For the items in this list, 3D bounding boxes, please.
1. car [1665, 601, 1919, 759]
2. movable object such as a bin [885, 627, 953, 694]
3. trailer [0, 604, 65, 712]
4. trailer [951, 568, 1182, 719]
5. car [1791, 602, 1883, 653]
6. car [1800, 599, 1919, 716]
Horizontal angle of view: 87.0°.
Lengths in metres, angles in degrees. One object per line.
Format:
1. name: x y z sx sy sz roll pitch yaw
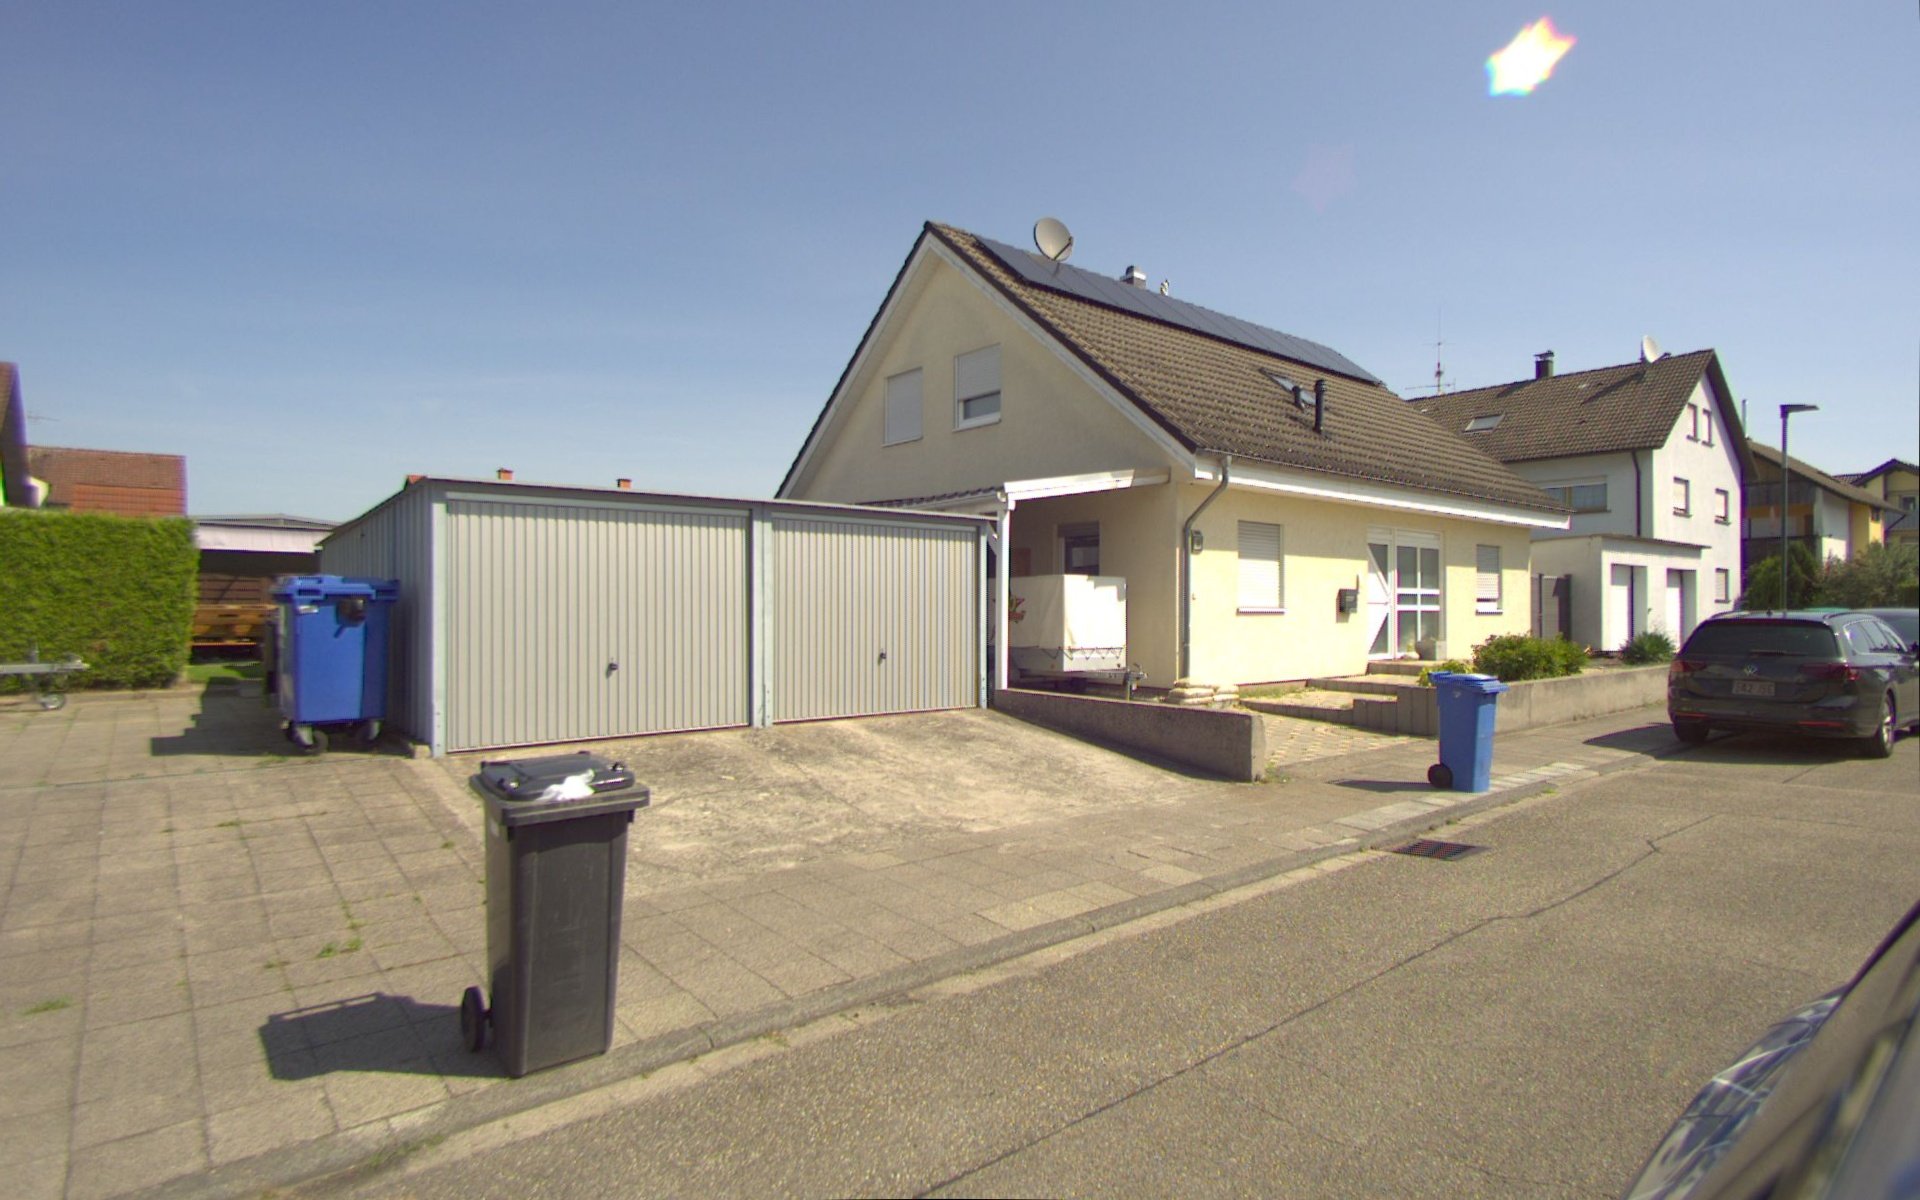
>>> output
1. car: 9.789 0.776 11.418 4.420 1.457 1.721 0 -3 -38
2. movable object such as a bin: -0.585 0.832 14.259 0.625 0.875 0.836 1 0 -34
3. trailer: -9.817 0.517 9.035 2.633 0.957 1.331 0 0 -38
4. trailer: 1.292 0.486 13.028 1.377 1.711 2.841 1 0 -38
5. car: 25.229 0.751 29.079 3.464 1.376 1.497 0 0 -40
6. car: 13.977 0.767 14.948 3.928 1.497 1.645 -1 -1 -39
